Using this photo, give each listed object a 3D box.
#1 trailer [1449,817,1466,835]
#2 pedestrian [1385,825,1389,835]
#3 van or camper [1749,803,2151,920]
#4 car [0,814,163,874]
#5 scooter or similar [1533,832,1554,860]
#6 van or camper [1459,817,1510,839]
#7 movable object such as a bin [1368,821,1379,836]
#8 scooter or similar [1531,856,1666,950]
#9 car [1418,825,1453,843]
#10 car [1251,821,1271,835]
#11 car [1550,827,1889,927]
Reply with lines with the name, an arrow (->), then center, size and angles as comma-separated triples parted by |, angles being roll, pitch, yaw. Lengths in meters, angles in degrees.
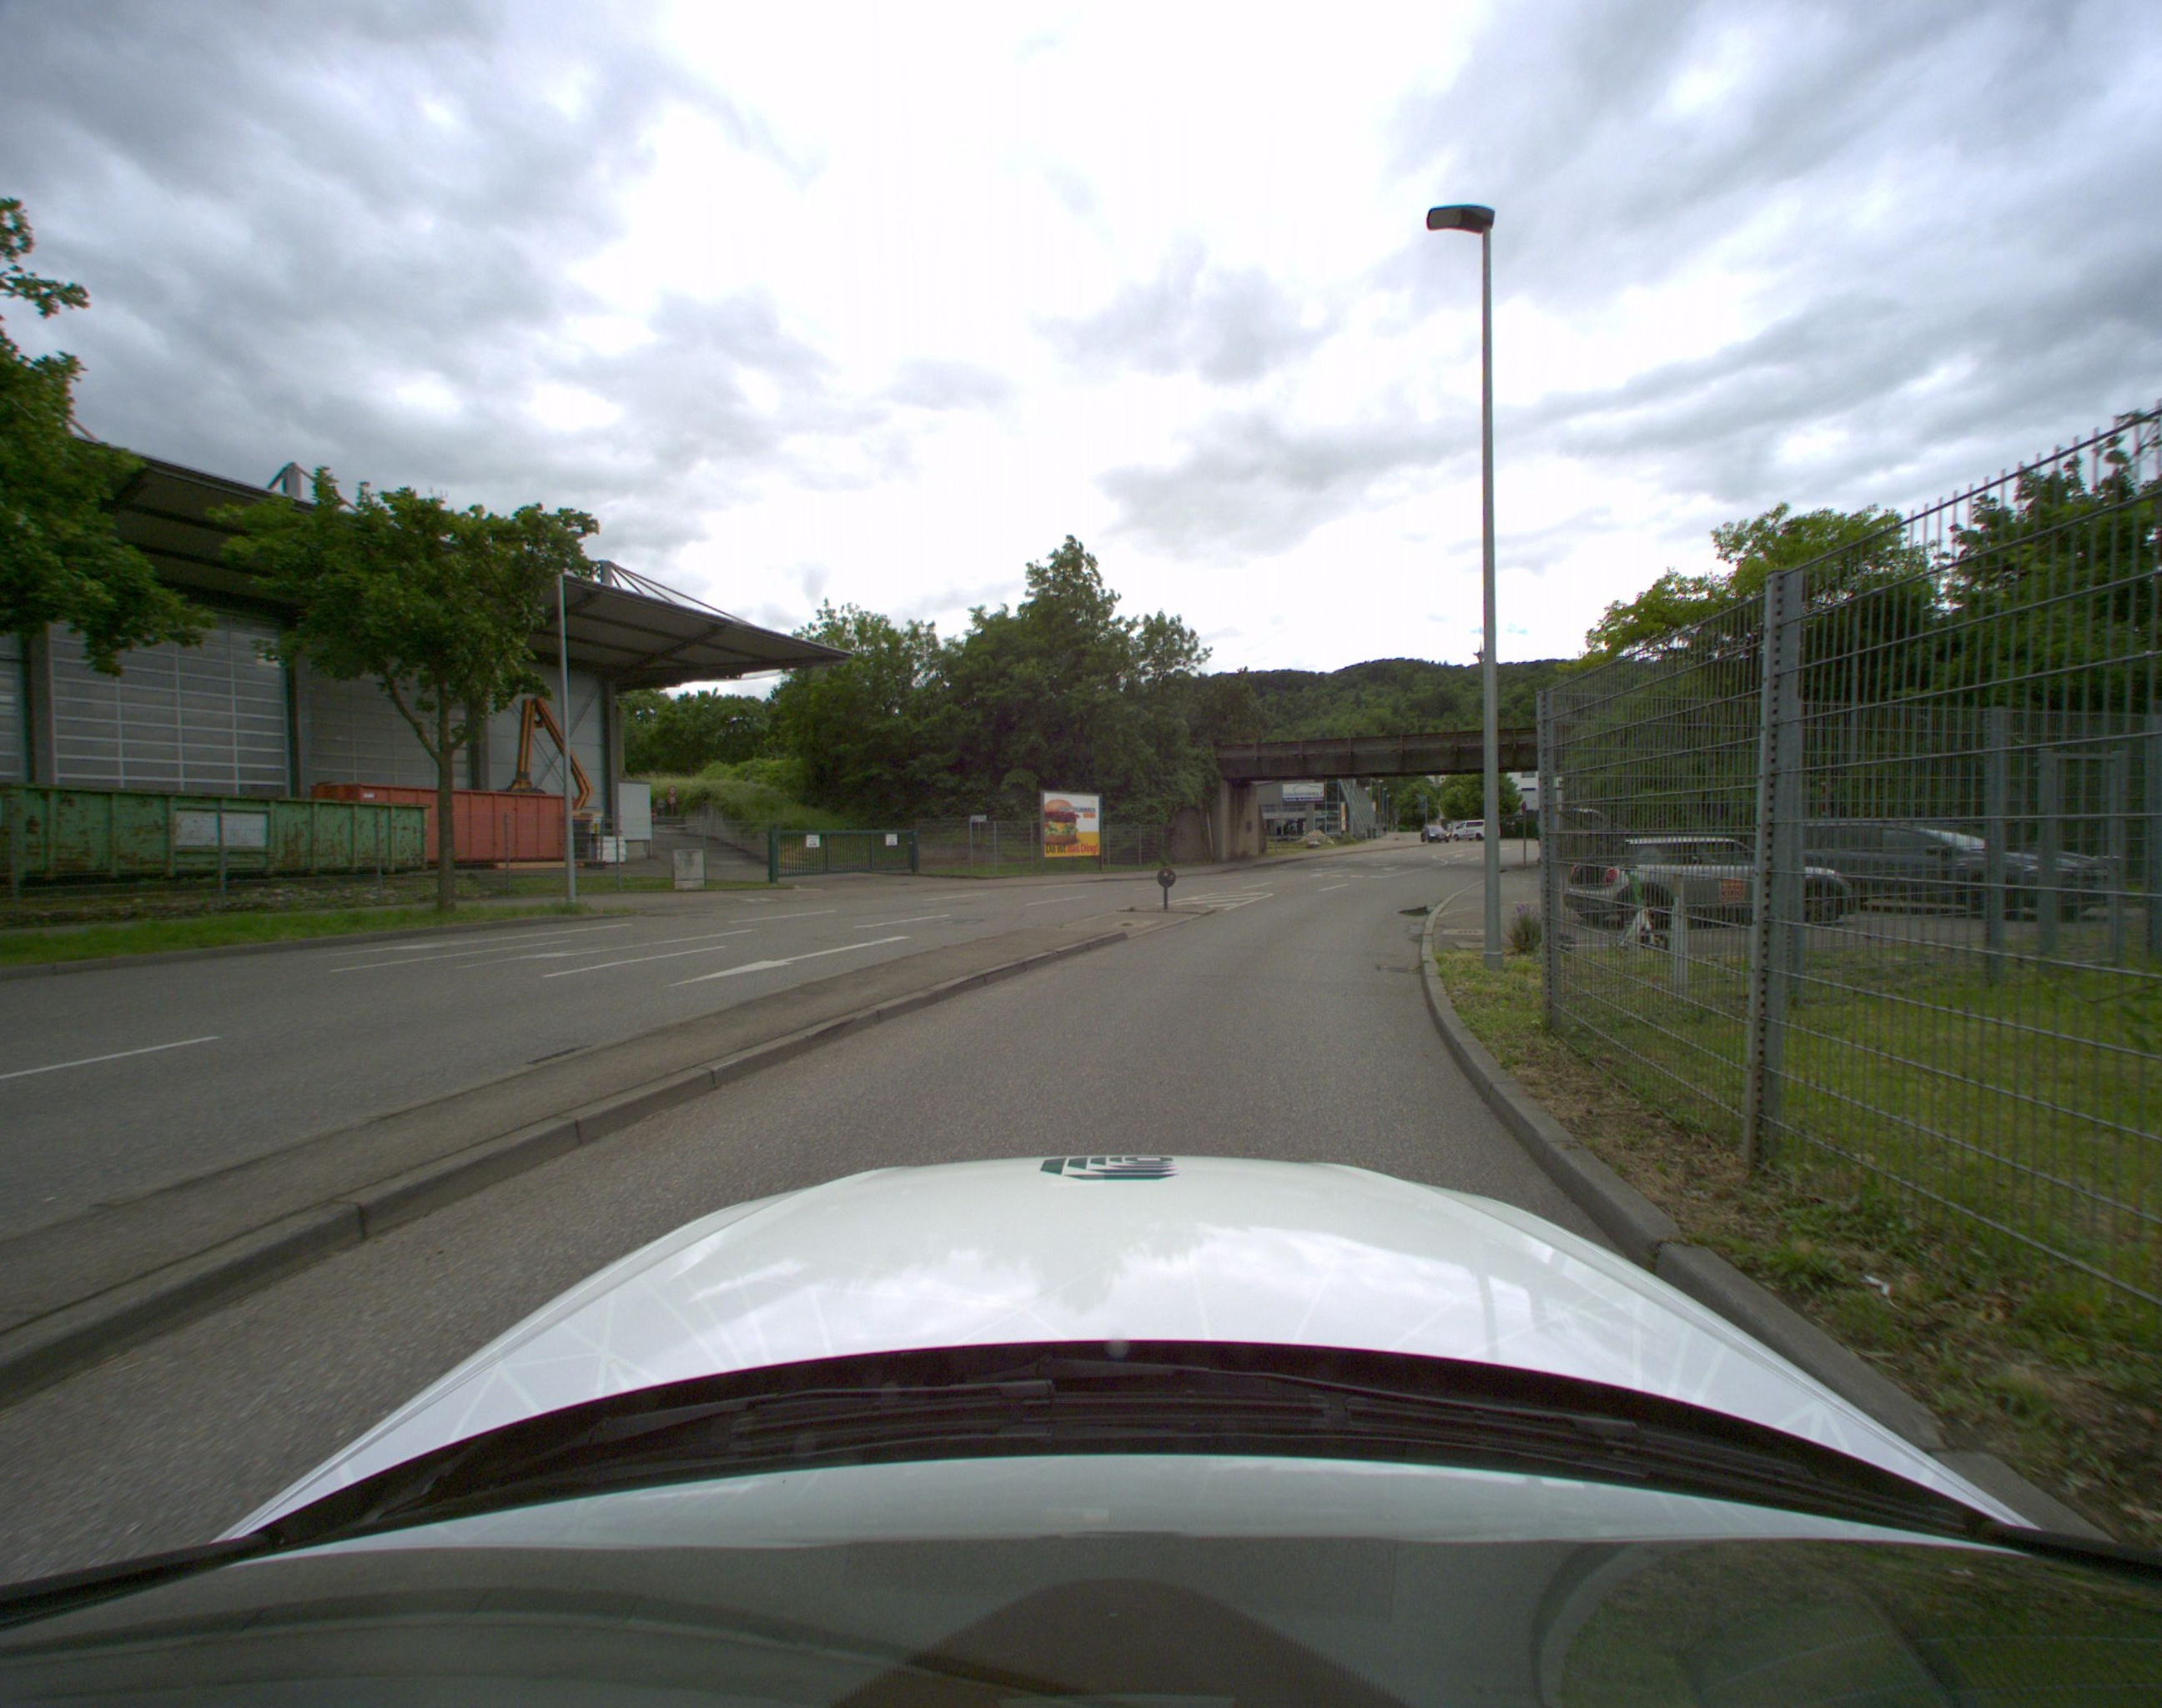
trailer -> 51.254, -3.833, 110.992 | 1.976, 2.343, 4.023 | 0, 2, 23
pedestrian -> 52.425, -4.167, 139.437 | 0.622, 1.673, 0.762 | 0, 1, 19
van or camper -> 14.530, 0.068, 14.085 | 1.827, 1.694, 4.490 | 0, 1, -11
car -> -25.329, -0.236, 19.536 | 1.716, 1.374, 4.024 | 0, 1, 25
scooter or similar -> 21.456, -0.364, 37.810 | 0.499, 1.236, 1.678 | -4, 0, 20
van or camper -> 39.287, -2.525, 79.317 | 2.106, 2.083, 4.176 | -1, 1, -21
movable object such as a bin -> 36.348, -3.163, 101.178 | 1.132, 1.757, 1.065 | 0, 1, 25
scooter or similar -> 6.635, 0.614, 10.487 | 1.401, 1.133, 0.483 | -2, 0, 33
car -> 34.347, -1.918, 78.962 | 1.983, 1.683, 4.380 | 0, 1, 7
car -> 20.118, -2.942, 91.272 | 1.982, 1.535, 4.011 | 0, 2, 9
car -> 10.111, 0.344, 13.191 | 3.985, 1.431, 1.790 | -1, 1, 7
